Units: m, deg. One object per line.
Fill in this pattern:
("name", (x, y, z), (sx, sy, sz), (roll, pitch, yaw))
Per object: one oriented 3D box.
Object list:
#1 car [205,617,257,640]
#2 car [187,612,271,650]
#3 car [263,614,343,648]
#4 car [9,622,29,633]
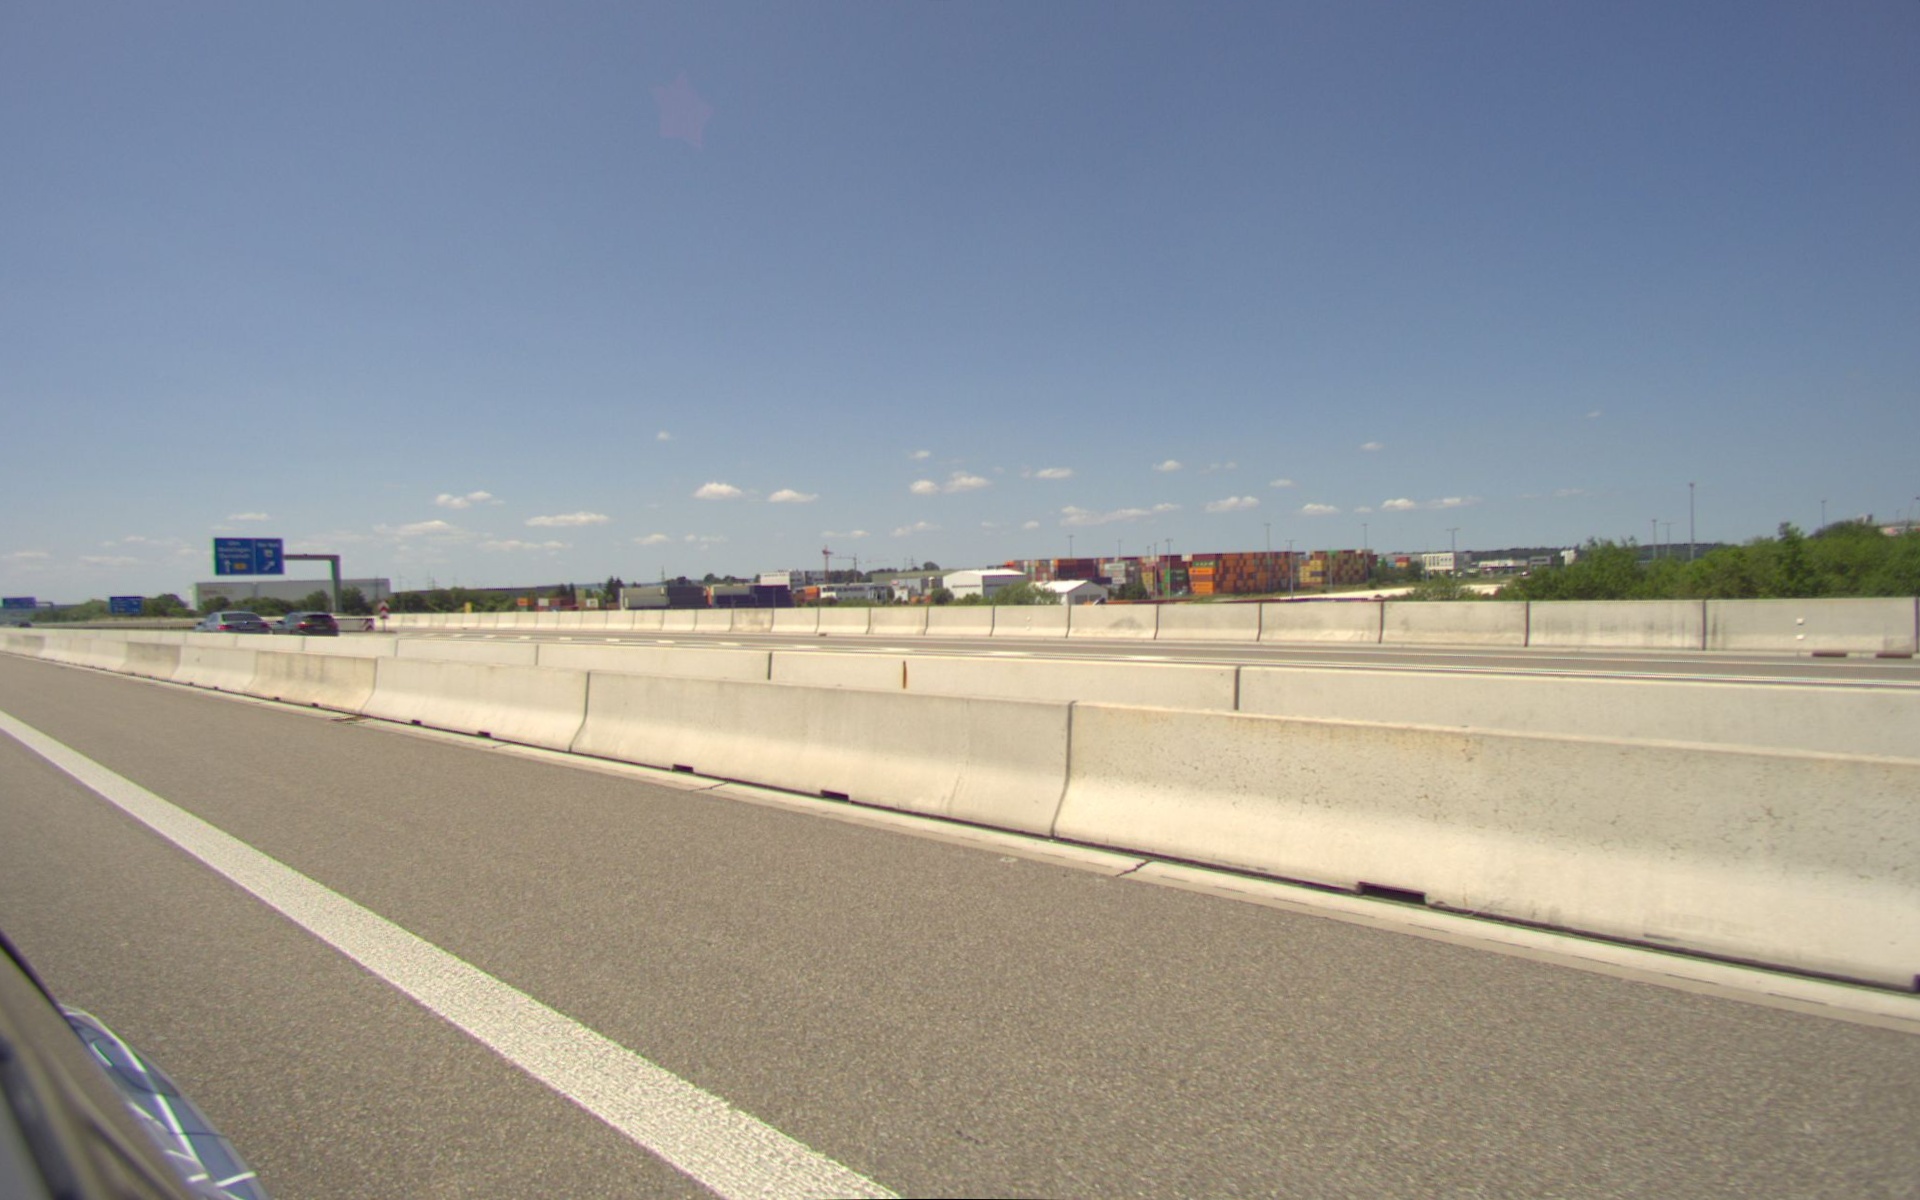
("car", (-48.909, 1.904, 67.859), (4.548, 1.431, 1.891), (-2, 0, 42))
("car", (-29.700, 1.239, 41.066), (4.523, 1.431, 1.823), (-1, 0, 42))
("car", (-30.361, 1.400, 46.726), (4.907, 1.431, 1.892), (-1, 0, 42))
("car", (-137.248, 3.985, 147.641), (4.547, 1.548, 1.714), (-2, 0, 42))
